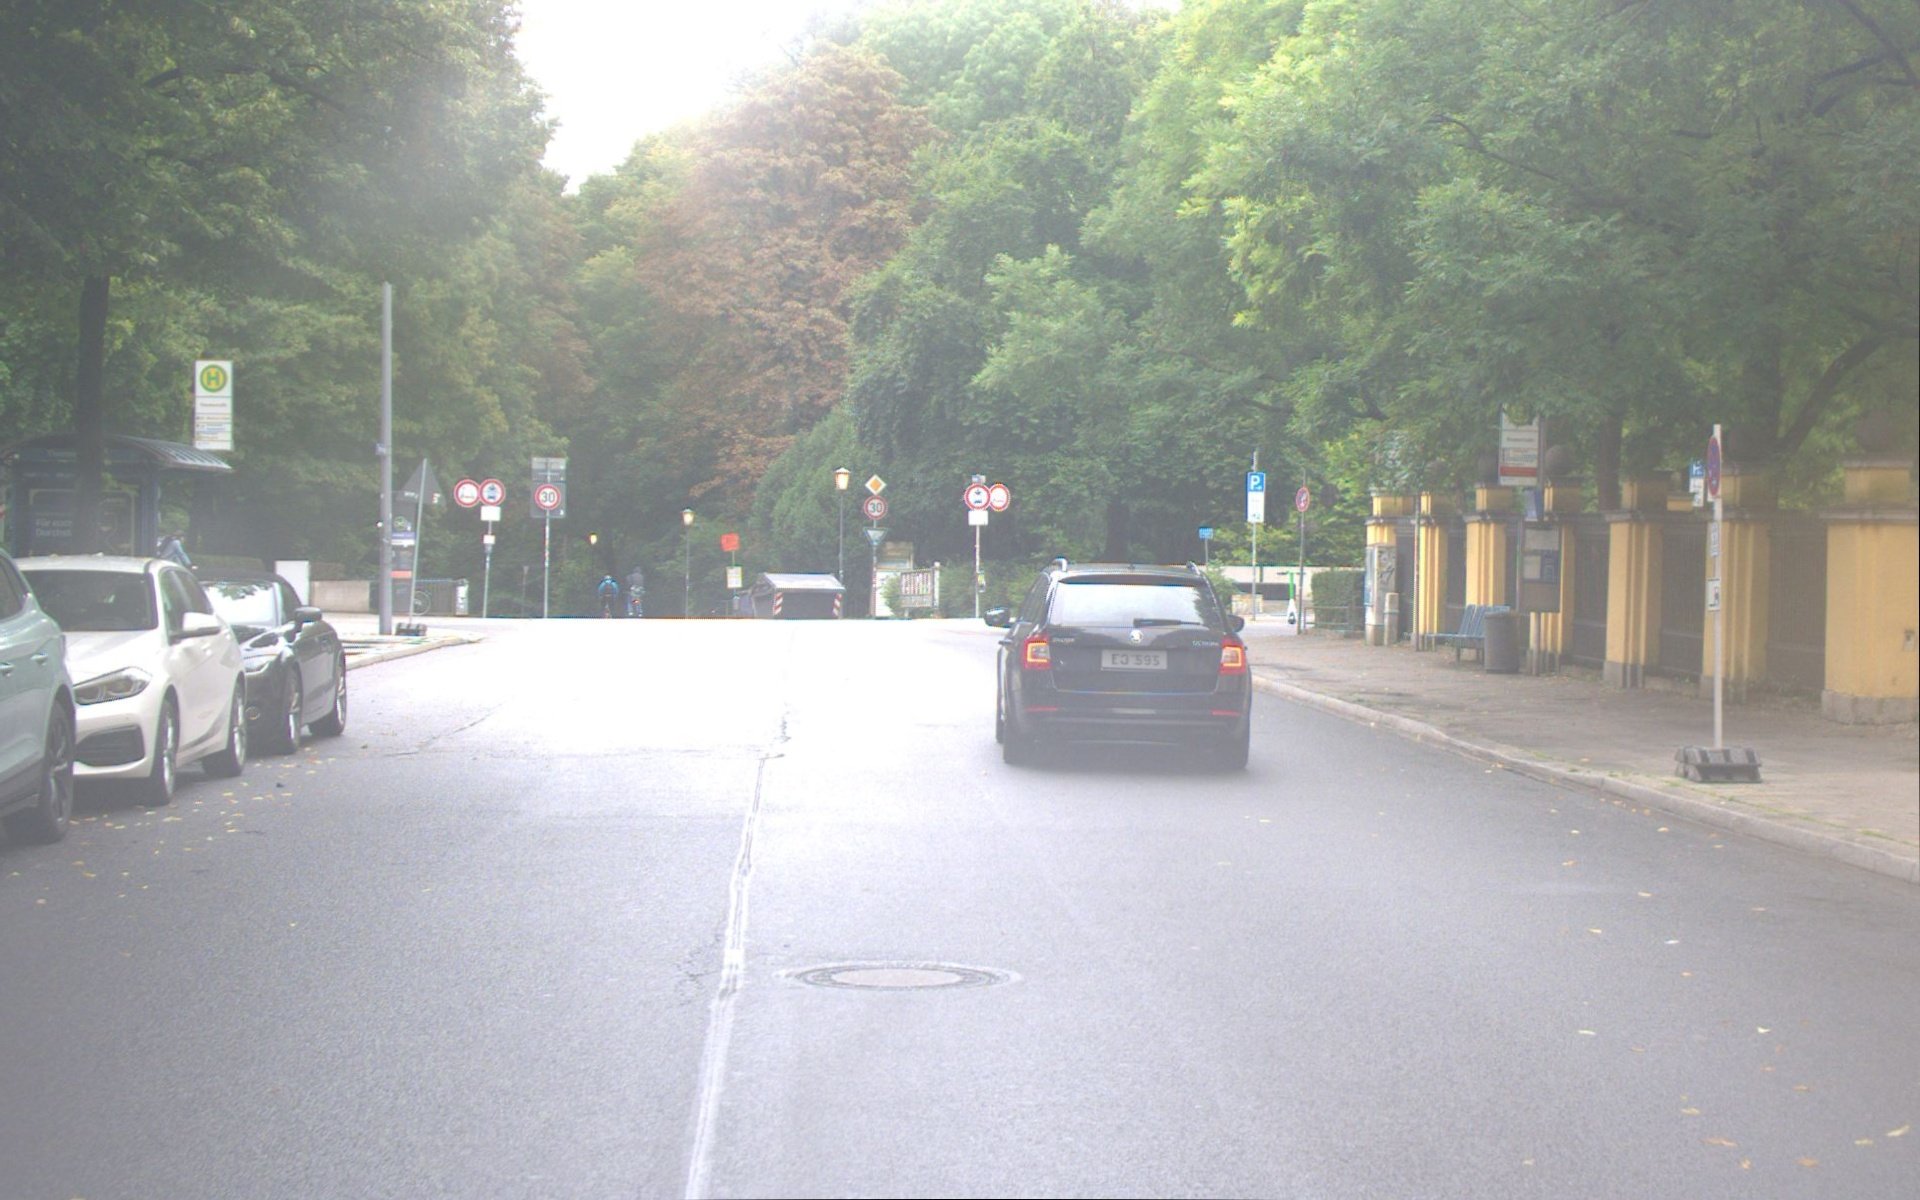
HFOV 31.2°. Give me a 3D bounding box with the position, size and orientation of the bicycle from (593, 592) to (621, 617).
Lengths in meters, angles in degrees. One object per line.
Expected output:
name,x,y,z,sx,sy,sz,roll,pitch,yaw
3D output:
bicycle,-11.921,0.149,116.124,0.679,0.827,2.110,1,0,-13

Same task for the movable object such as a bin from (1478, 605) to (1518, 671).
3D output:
movable object such as a bin,6.504,0.461,41.537,0.396,0.778,0.465,1,1,-1

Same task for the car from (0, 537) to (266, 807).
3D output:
car,-5.372,0.372,21.191,1.577,1.492,4.200,1,1,-4

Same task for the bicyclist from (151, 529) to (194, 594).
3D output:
bicyclist,-15.648,-0.771,68.309,0.597,1.278,0.683,0,1,-35

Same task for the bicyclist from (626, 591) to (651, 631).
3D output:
bicyclist,-9.605,0.318,102.687,0.680,1.183,0.481,0,1,-9

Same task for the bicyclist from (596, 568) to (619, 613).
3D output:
bicyclist,-11.908,-0.326,116.105,0.680,1.499,0.901,0,1,-12

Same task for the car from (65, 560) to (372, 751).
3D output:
car,-5.617,0.371,26.469,1.577,1.338,4.044,1,1,-1

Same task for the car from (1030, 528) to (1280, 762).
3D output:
car,1.371,0.281,25.480,1.577,1.578,4.044,1,1,0

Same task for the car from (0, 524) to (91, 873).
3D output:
car,-5.281,0.444,15.545,1.815,1.596,4.514,1,1,-4
